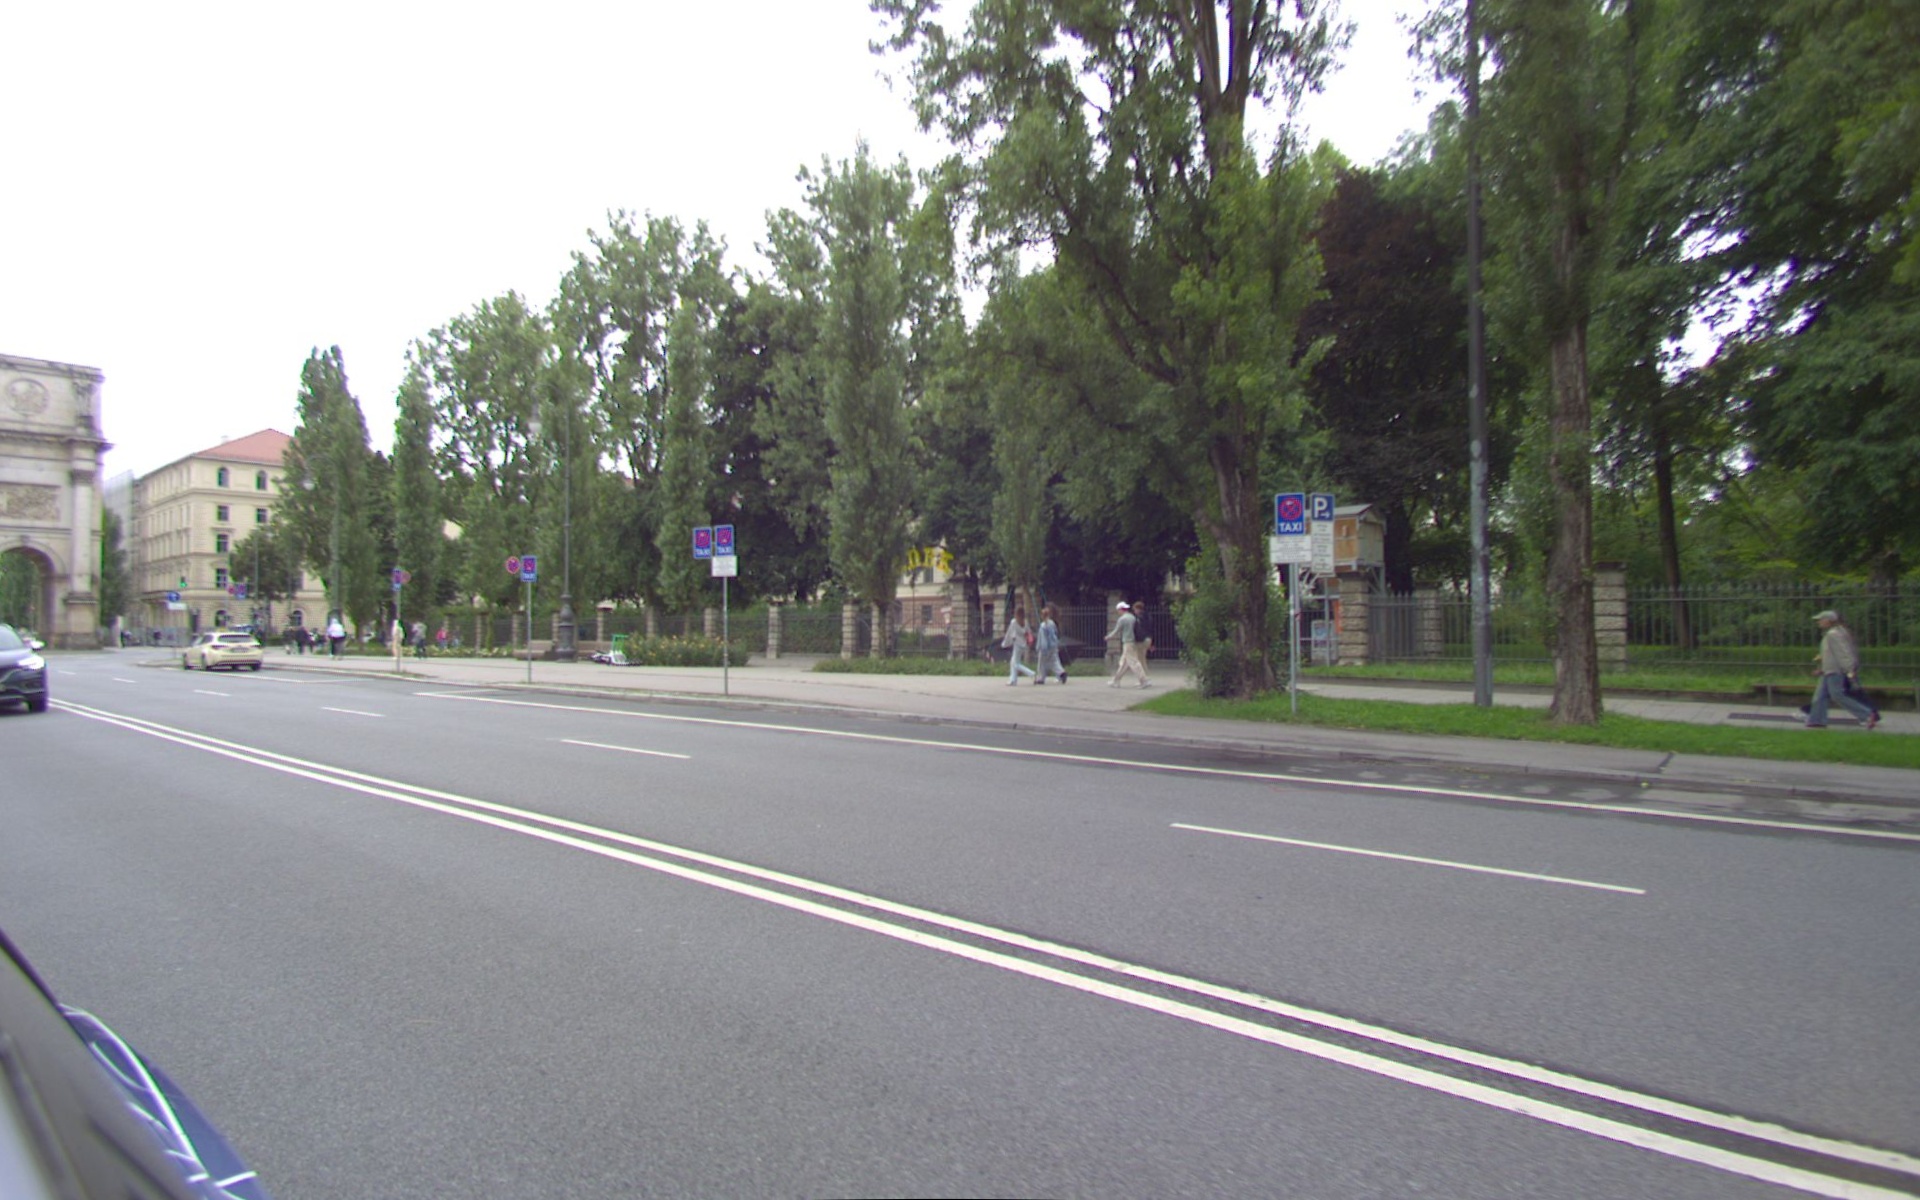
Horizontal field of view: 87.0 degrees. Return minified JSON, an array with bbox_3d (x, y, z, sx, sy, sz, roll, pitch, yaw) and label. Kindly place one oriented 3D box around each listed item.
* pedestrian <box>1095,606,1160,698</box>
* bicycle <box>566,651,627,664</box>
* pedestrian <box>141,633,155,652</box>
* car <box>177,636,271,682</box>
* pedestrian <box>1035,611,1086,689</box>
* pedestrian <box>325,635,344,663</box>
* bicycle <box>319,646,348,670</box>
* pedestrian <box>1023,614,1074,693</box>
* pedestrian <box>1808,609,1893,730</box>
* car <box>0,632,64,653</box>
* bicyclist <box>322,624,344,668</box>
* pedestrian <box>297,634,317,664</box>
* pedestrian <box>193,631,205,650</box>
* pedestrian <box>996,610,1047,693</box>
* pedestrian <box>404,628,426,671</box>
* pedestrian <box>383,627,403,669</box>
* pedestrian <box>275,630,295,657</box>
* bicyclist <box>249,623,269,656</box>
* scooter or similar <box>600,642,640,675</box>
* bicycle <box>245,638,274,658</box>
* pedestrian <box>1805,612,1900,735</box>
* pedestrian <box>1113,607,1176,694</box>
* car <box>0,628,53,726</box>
[{"bbox_3d":[3.478,1.052,21.037,1.092,1.847,0.702,-1,-1,40],"label":"pedestrian"},{"bbox_3d":[-14.927,2.356,41.624,1.331,0.456,2.204,-2,-2,18],"label":"bicycle"},{"bbox_3d":[-80.951,4.212,100.842,1.017,1.837,0.883,1,-2,-42],"label":"pedestrian"},{"bbox_3d":[-27.885,2.192,38.286,4.464,1.346,1.774,3,1,39],"label":"car"},{"bbox_3d":[2.274,1.124,22.905,0.910,1.729,0.653,-2,-2,40],"label":"pedestrian"},{"bbox_3d":[-43.418,3.418,70.233,0.976,1.885,1.032,-1,-1,-39],"label":"pedestrian"},{"bbox_3d":[-26.580,2.449,42.910,1.912,0.959,0.464,-2,-1,40],"label":"bicycle"},{"bbox_3d":[1.963,1.170,22.382,0.885,1.713,0.681,-2,-2,40],"label":"pedestrian"},{"bbox_3d":[12.362,0.949,14.077,0.812,1.617,0.711,-2,-2,39],"label":"pedestrian"},{"bbox_3d":[-79.093,3.624,86.162,3.945,1.763,1.999,-1,-2,1],"label":"car"},{"bbox_3d":[-26.586,1.958,42.921,0.660,1.837,0.583,-2,-1,39],"label":"bicyclist"},{"bbox_3d":[-39.598,2.951,61.368,0.945,1.731,1.032,-1,-1,-37],"label":"pedestrian"},{"bbox_3d":[-74.557,3.920,99.132,0.868,1.837,0.687,1,-2,-40],"label":"pedestrian"},{"bbox_3d":[1.340,1.119,22.008,0.907,1.760,0.623,-2,-2,40],"label":"pedestrian"},{"bbox_3d":[-22.298,2.018,41.410,0.581,1.744,0.527,-2,-2,29],"label":"pedestrian"},{"bbox_3d":[-24.003,2.018,42.828,0.581,1.744,0.527,-2,-2,29],"label":"pedestrian"},{"bbox_3d":[-43.283,2.780,64.915,0.944,1.731,1.033,-1,0,-27],"label":"pedestrian"},{"bbox_3d":[-34.690,1.958,50.084,0.660,1.604,0.639,-2,-1,39],"label":"bicyclist"},{"bbox_3d":[-12.615,2.155,37.550,1.413,1.187,0.738,-2,-4,36],"label":"scooter or similar"},{"bbox_3d":[-34.659,2.374,50.063,1.912,0.959,0.666,-2,-1,40],"label":"bicycle"},{"bbox_3d":[11.895,0.956,13.512,0.875,1.560,0.711,-2,-2,39],"label":"pedestrian"},{"bbox_3d":[3.942,1.056,21.601,1.092,1.786,0.702,-1,-1,40],"label":"pedestrian"},{"bbox_3d":[-17.562,1.329,17.790,4.181,1.598,1.817,-2,-2,40],"label":"car"}]
